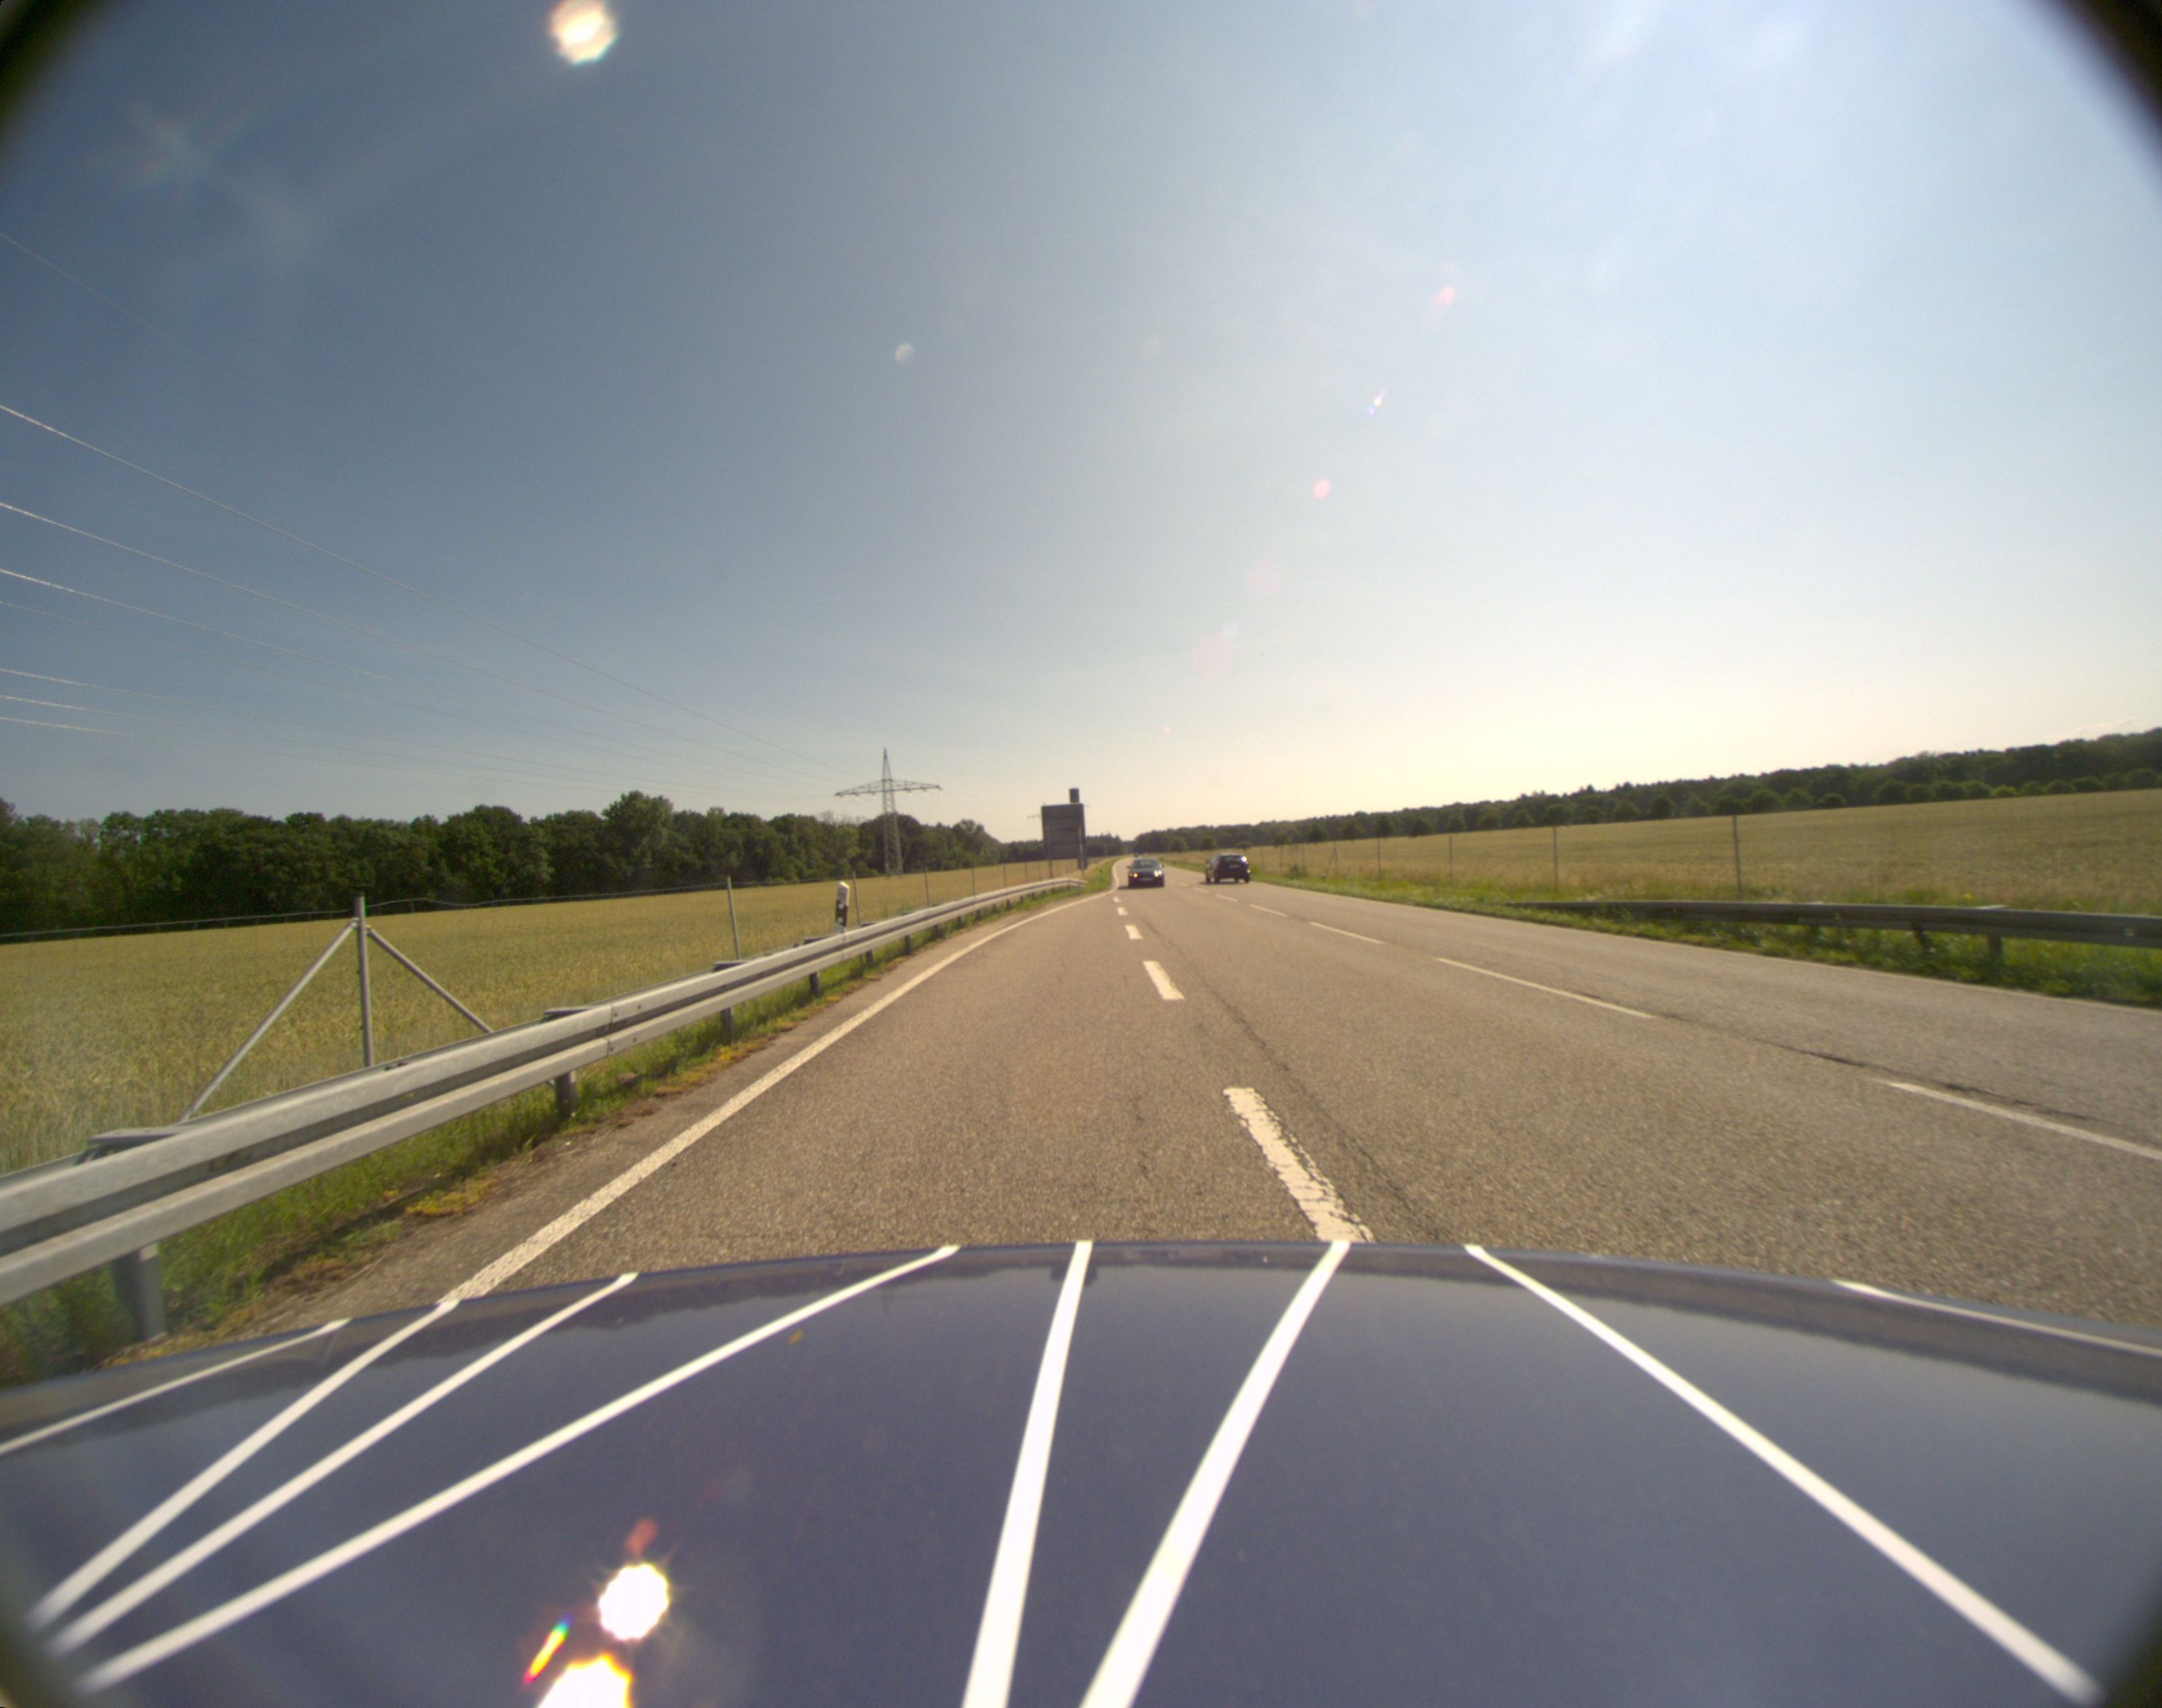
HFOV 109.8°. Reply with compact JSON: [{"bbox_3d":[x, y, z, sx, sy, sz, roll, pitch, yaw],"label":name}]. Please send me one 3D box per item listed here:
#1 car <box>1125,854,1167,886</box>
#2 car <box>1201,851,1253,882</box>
[{"bbox_3d":[3.157,0.760,37.529,1.886,1.448,4.076,-1,0,3],"label":"car"},{"bbox_3d":[7.489,0.611,39.283,1.833,1.499,4.162,-2,0,0],"label":"car"}]
